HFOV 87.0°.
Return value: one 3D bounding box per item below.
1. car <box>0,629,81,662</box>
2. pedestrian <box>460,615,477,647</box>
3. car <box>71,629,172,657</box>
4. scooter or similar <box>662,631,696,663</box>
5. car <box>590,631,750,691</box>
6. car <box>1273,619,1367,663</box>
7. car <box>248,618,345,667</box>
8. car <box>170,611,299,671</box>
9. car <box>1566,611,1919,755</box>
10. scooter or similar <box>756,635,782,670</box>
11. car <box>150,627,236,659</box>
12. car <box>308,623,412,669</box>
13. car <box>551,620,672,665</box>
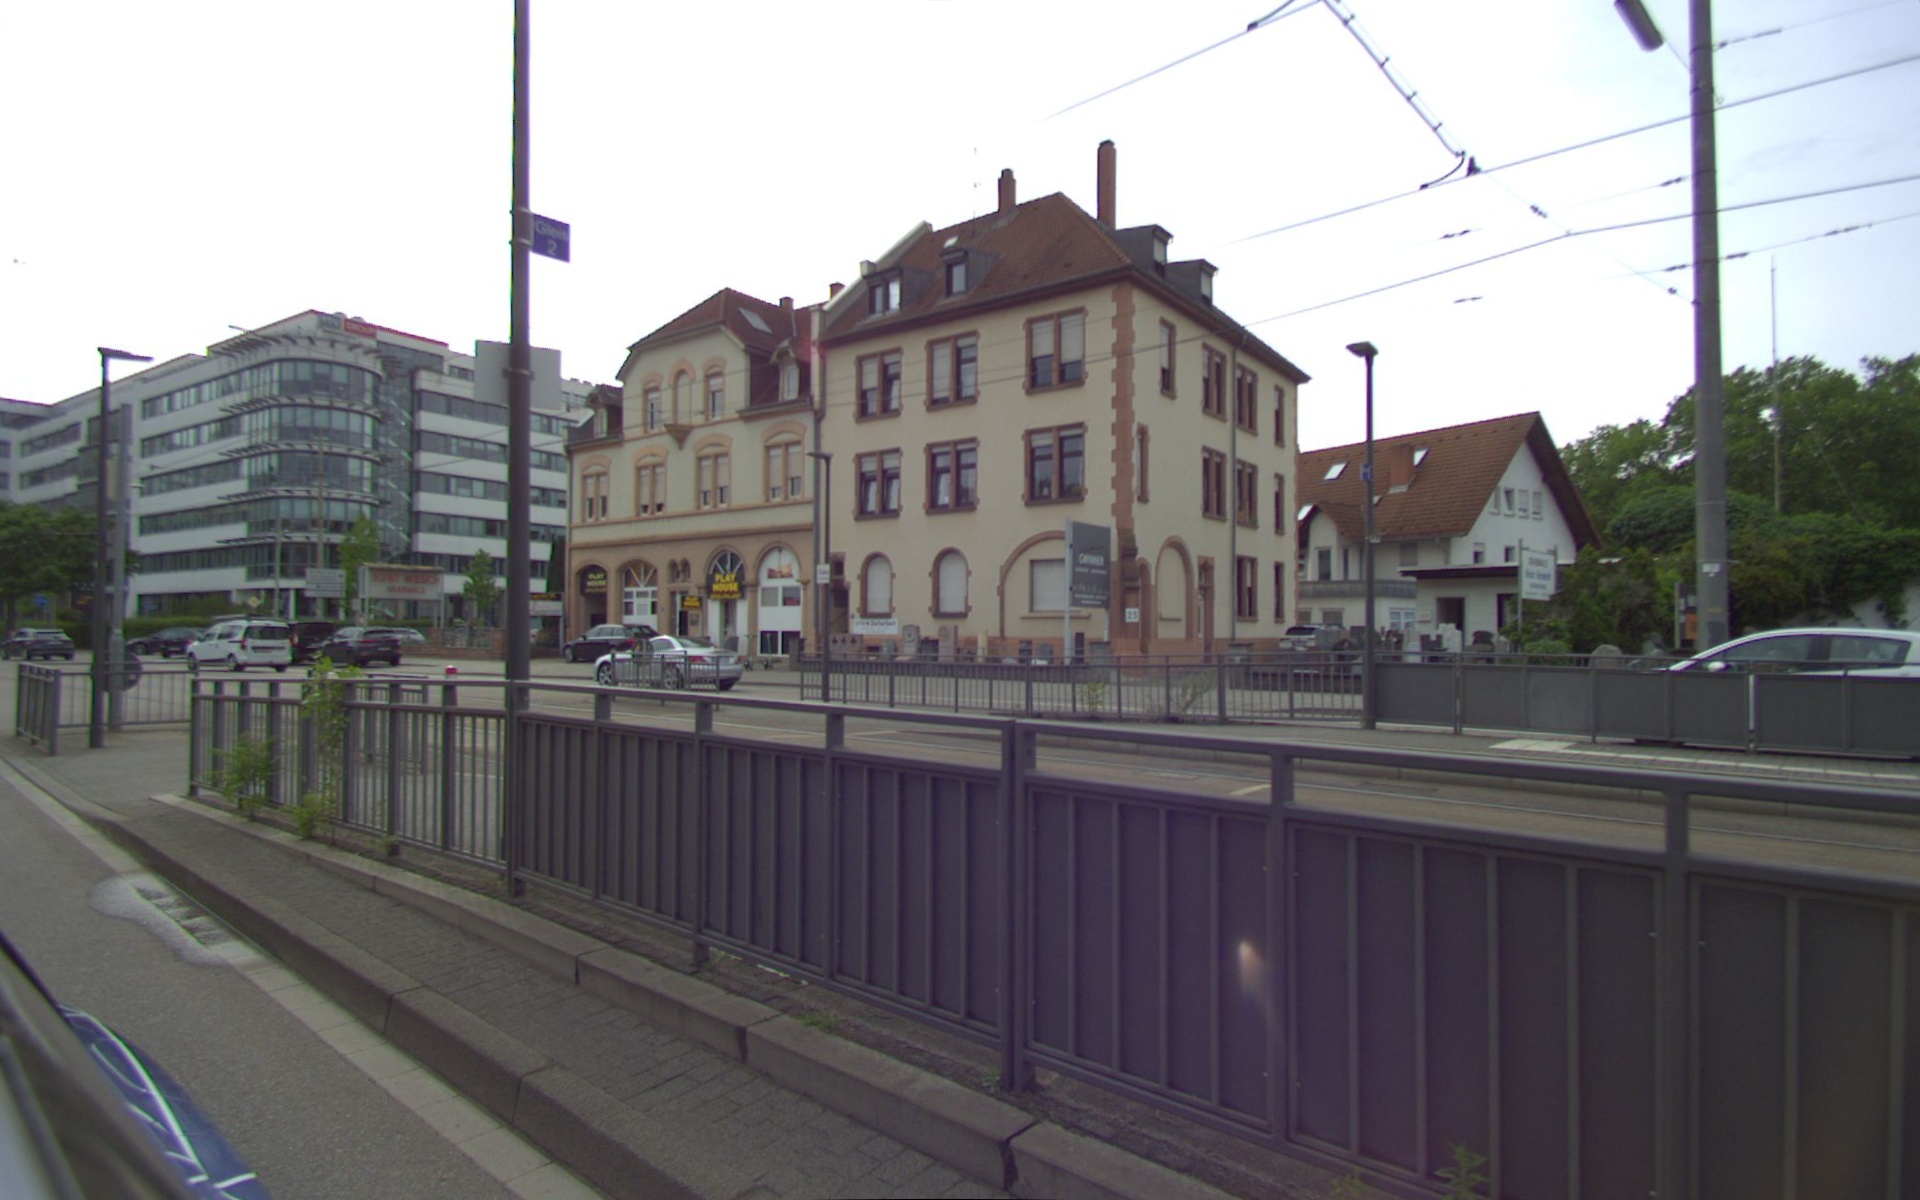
[{"bbox_3d":[-42.178,2.064,46.112,4.408,1.439,1.868,-1,-3,31],"label":"car"},{"bbox_3d":[-28.270,1.779,58.222,0.761,1.787,0.628,-1,-1,40],"label":"pedestrian"},{"bbox_3d":[-45.060,2.294,54.487,3.918,1.462,1.822,1,-2,-30],"label":"car"},{"bbox_3d":[-10.496,1.746,37.831,0.526,1.110,1.165,-1,1,32],"label":"scooter or similar"},{"bbox_3d":[-7.036,1.422,24.452,3.825,1.308,1.734,-1,-2,36],"label":"car"},{"bbox_3d":[12.964,1.429,36.324,3.820,1.424,1.694,0,-1,-45],"label":"car"},{"bbox_3d":[-29.957,1.859,45.635,5.174,2.029,1.969,-1,0,36],"label":"car"},{"bbox_3d":[-25.552,1.409,35.635,4.504,2.004,1.872,0,-2,28],"label":"car"},{"bbox_3d":[9.608,0.948,11.999,3.993,1.497,1.847,-1,-5,37],"label":"car"},{"bbox_3d":[-6.249,1.714,33.108,0.521,1.110,1.175,0,-1,7],"label":"scooter or similar"},{"bbox_3d":[-38.699,2.195,51.203,1.766,1.542,4.150,2,-3,-11],"label":"car"},{"bbox_3d":[-25.001,1.908,42.137,4.523,1.762,2.020,-2,-1,34],"label":"car"},{"bbox_3d":[-13.544,1.587,39.212,4.893,1.503,1.976,-1,3,37],"label":"car"}]
